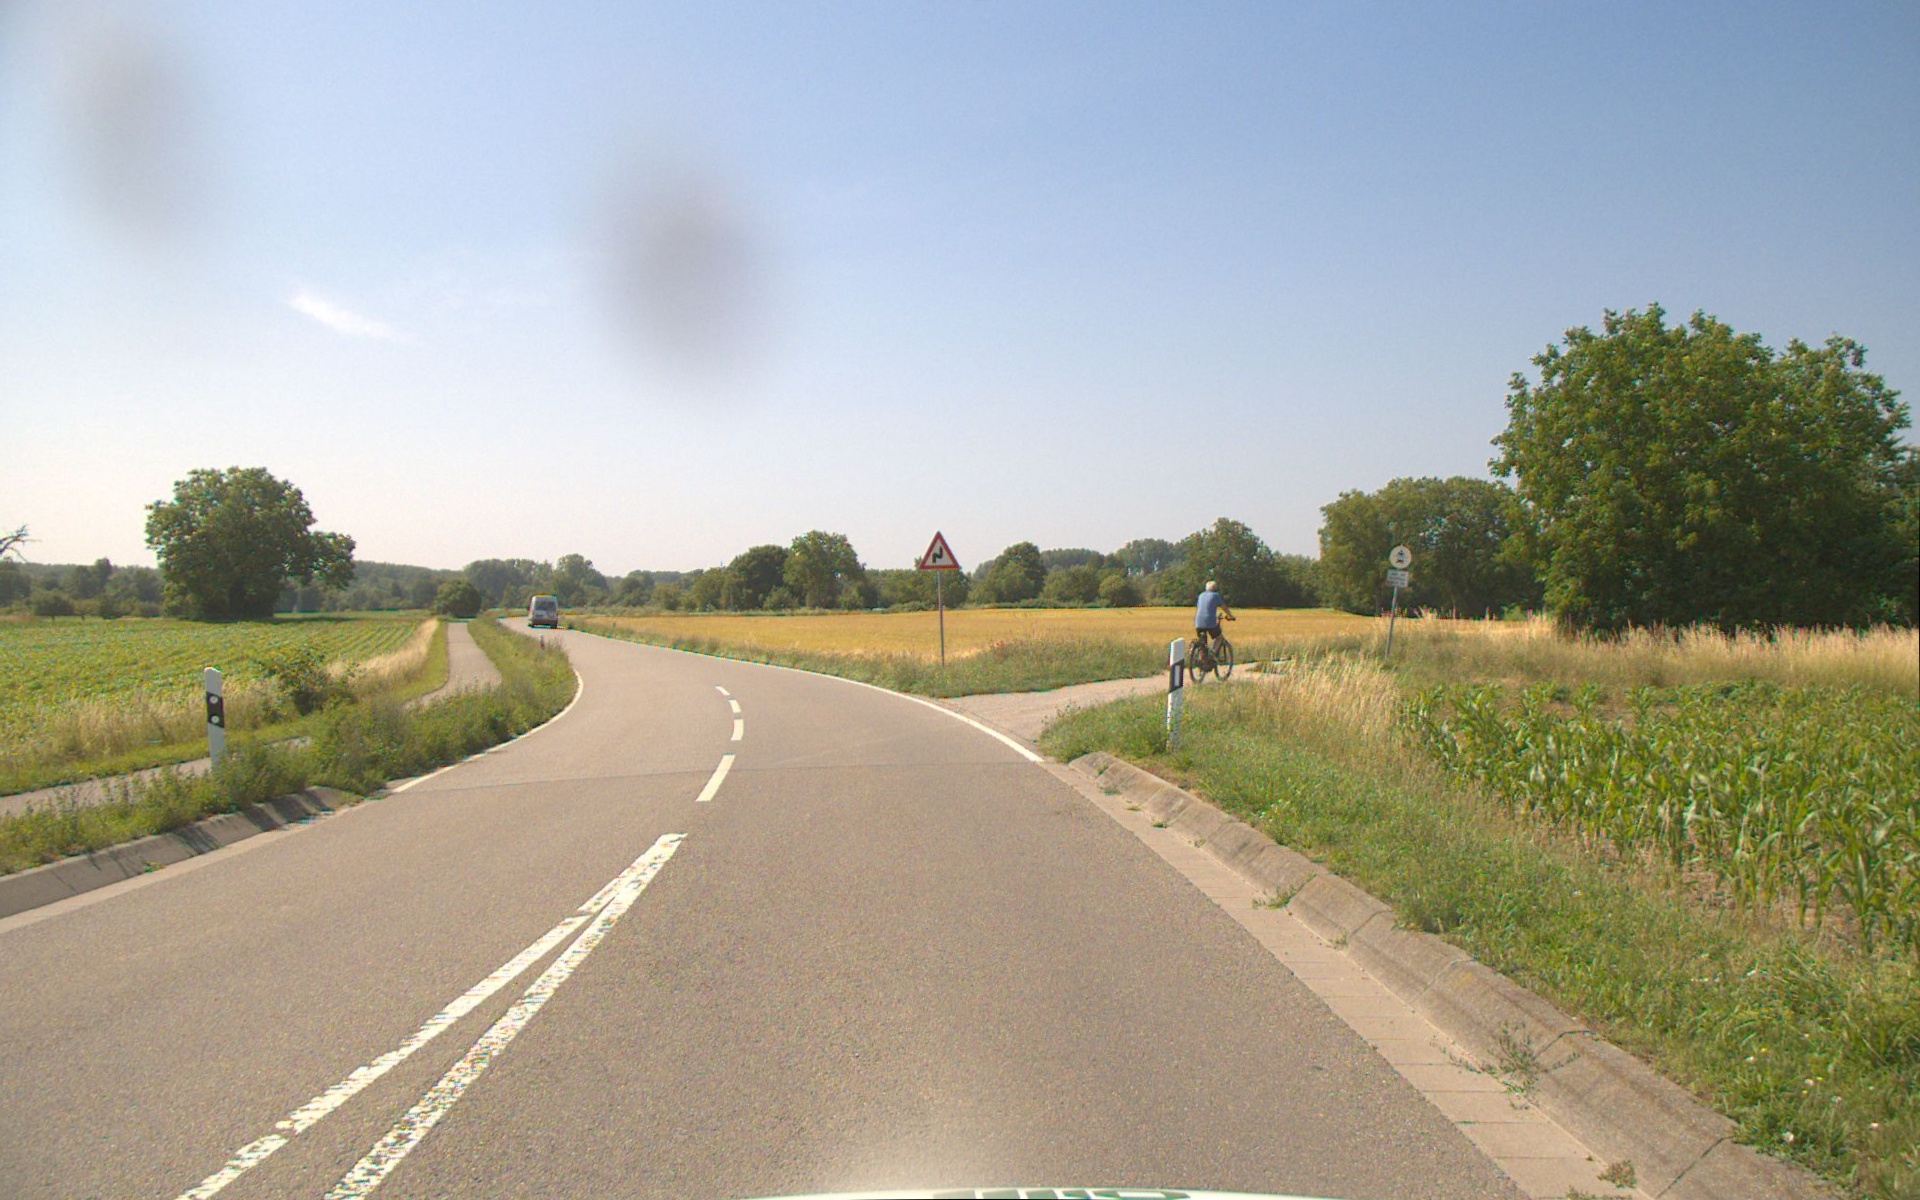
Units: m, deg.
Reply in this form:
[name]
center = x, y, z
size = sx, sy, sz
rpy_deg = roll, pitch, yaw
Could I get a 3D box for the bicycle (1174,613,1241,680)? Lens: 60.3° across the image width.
[bicycle]
center = 4.364, 0.804, 29.081
size = 0.510, 1.135, 1.765
rpy_deg = -1, -1, 31

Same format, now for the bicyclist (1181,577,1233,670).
[bicyclist]
center = 4.335, 0.412, 29.048
size = 0.660, 1.601, 0.734
rpy_deg = -1, -1, 32

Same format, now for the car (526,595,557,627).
[car]
center = -33.092, 0.862, 130.754
size = 2.071, 2.408, 5.658
rpy_deg = -1, 0, -17
